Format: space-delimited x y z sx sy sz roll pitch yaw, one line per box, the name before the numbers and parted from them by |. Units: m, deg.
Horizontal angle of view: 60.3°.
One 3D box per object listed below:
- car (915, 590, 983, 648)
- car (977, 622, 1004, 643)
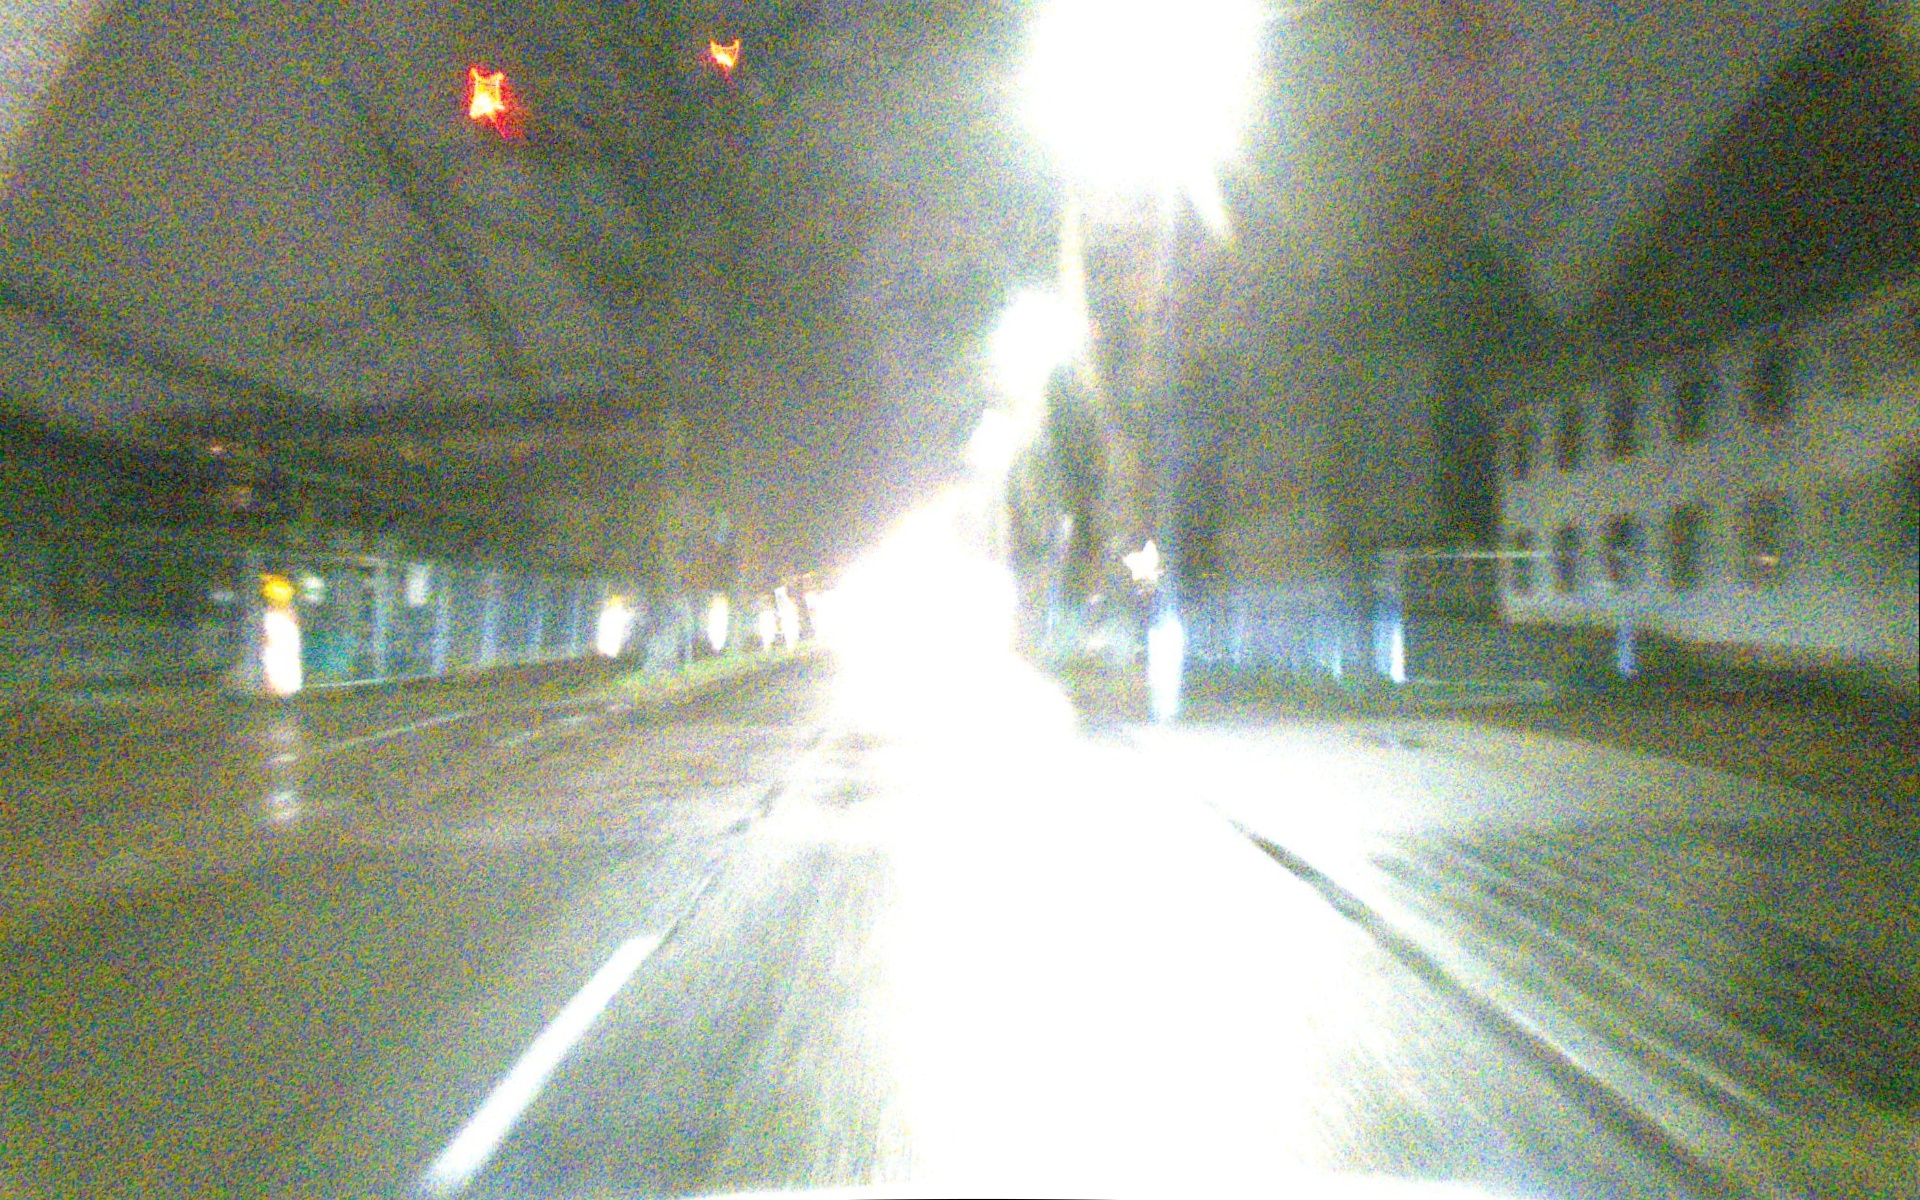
car | -0.373 0.566 52.347 1.954 1.713 3.998 1 0 -3
car | 2.319 2.443 125.390 1.679 1.515 4.433 0 0 -4
